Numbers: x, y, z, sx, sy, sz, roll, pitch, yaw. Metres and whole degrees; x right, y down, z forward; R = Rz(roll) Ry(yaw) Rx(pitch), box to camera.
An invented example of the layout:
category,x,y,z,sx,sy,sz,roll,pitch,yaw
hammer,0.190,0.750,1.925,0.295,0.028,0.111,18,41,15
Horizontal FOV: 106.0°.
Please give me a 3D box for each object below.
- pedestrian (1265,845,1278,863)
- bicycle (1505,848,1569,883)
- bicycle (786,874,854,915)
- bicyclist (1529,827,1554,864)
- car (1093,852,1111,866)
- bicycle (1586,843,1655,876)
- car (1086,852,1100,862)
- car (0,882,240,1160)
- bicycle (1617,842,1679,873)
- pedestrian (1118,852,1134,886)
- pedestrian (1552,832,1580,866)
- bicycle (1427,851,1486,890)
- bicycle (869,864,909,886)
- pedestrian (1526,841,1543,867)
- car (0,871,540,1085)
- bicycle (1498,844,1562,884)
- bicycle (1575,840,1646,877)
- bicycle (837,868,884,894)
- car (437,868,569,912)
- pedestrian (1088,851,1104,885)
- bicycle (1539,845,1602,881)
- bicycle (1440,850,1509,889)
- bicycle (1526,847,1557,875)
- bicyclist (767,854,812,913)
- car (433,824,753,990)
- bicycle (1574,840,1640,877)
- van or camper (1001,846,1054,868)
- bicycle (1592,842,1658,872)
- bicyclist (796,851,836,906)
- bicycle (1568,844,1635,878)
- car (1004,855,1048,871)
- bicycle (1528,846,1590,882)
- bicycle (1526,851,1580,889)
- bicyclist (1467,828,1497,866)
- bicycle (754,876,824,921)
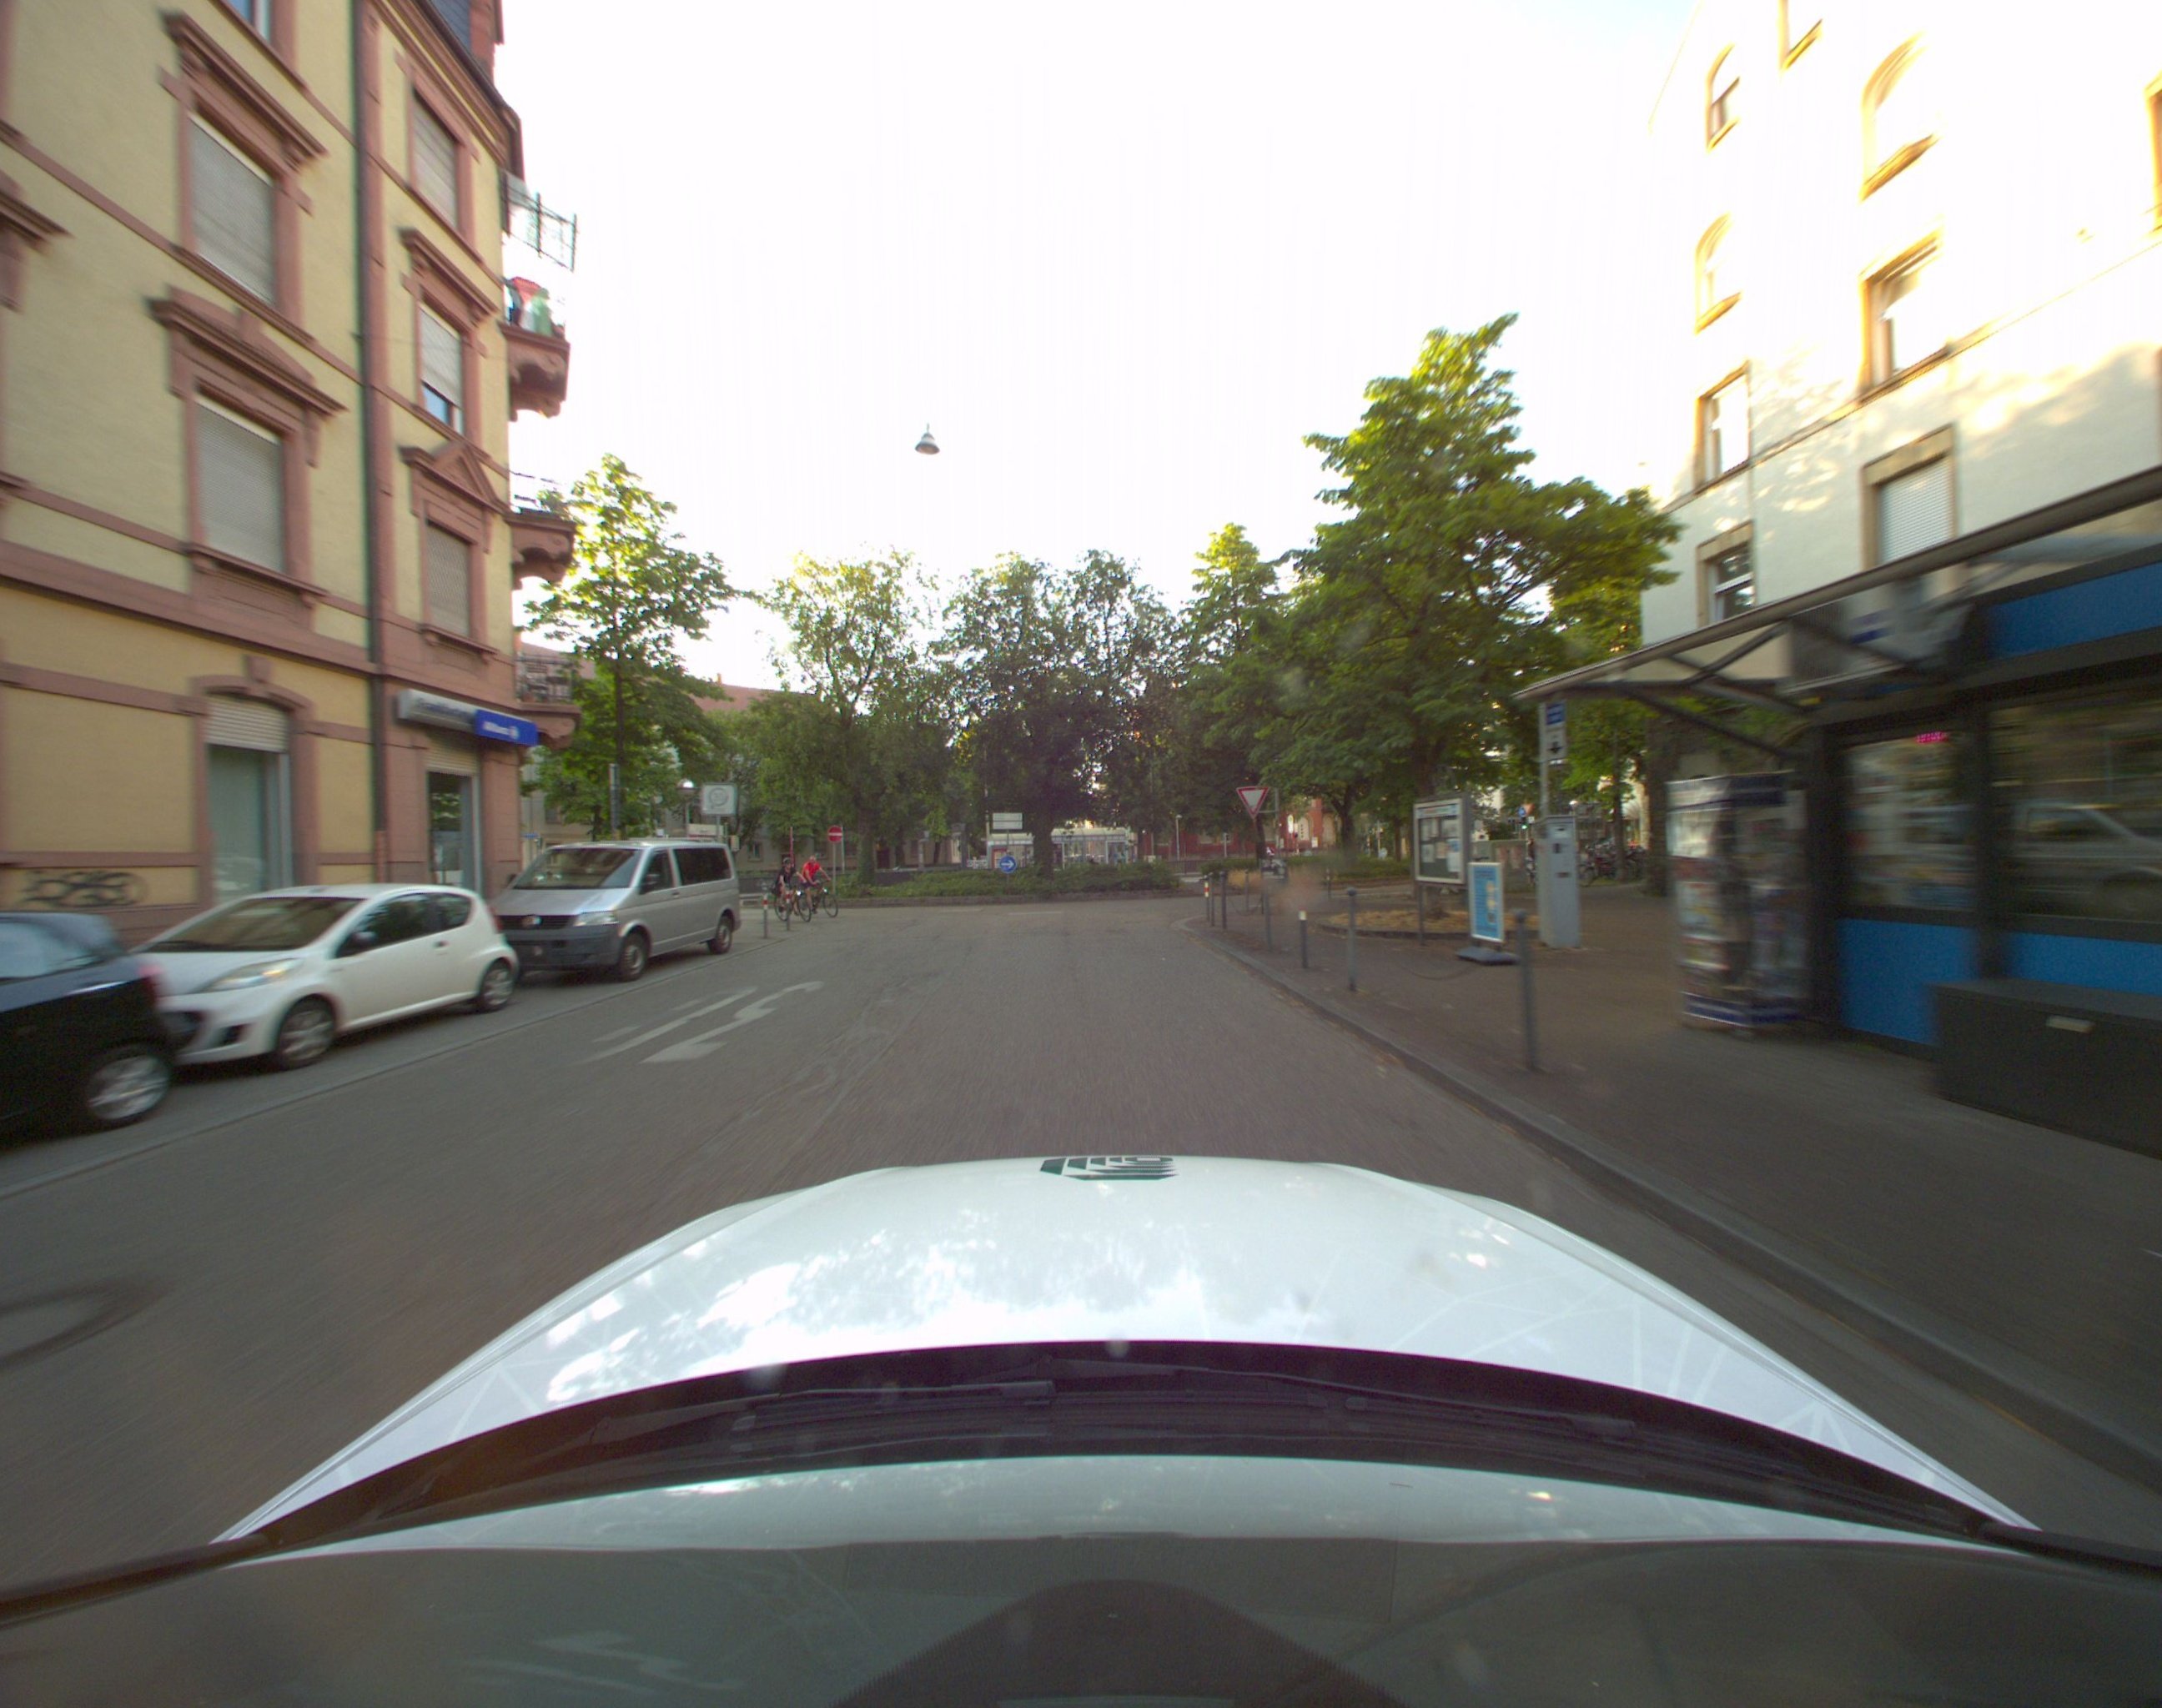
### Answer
category,x,y,z,sx,sy,sz,roll,pitch,yaw
pedestrian,16.056,-0.005,68.598,0.856,1.526,0.720,-2,0,36
bicycle,13.931,0.367,24.907,0.557,1.020,1.590,-2,0,-35
bicycle,-7.389,1.144,23.034,1.988,1.107,0.656,-2,0,32
bicyclist,18.944,-0.344,33.507,0.700,1.502,0.925,-2,0,41
car,2.635,0.642,104.857,1.989,1.703,4.714,-1,0,-3
bicycle,18.612,0.190,28.115,1.897,1.065,0.556,-2,0,45
car,2.052,0.518,140.444,1.989,1.703,4.714,-1,0,-3
car,-6.824,0.959,3.992,1.726,1.491,3.735,0,0,-6
bicycle,21.686,0.128,31.195,1.834,1.104,0.576,-2,0,20
pedestrian,1.955,0.630,35.361,0.614,1.431,0.655,-2,0,-1
pedestrian,31.160,-0.306,52.313,1.058,2.085,1.009,-3,0,-13
bicycle,10.458,0.447,22.714,0.433,1.039,1.595,-2,0,-23
bicycle,-9.741,1.052,41.316,1.858,1.051,0.542,-2,0,-24
pedestrian,32.109,-0.018,57.605,0.859,1.794,0.930,-2,0,38
car,-7.227,0.954,7.874,1.680,1.491,3.610,0,0,-3
bicycle,13.569,0.307,24.646,0.557,1.148,1.590,-2,0,-35
bicycle,17.990,0.149,27.697,1.897,1.200,0.556,-2,0,45
bicycle,-10.698,1.308,39.522,2.119,1.151,0.681,-2,0,-25
car,-22.162,1.373,31.209,4.780,1.517,2.012,-2,0,26
pedestrian,0.655,0.589,35.045,0.614,1.431,0.655,-2,0,-1
bicycle,15.214,0.301,25.339,0.421,1.076,1.589,-2,0,-39
bicycle,10.903,0.431,22.615,0.433,1.039,1.884,-2,0,-23
bicycle,18.955,0.271,33.504,0.700,1.070,1.846,-2,0,41
bicyclist,-7.772,0.788,21.715,0.856,1.526,0.720,-2,0,36
car,-7.093,0.652,12.667,2.035,2.057,5.002,0,0,-1
bicycle,17.507,0.171,27.134,0.450,1.168,1.774,-2,0,-43
van or camper,-7.555,0.419,114.801,7.357,3.083,2.667,-1,0,-7
bicycle,19.016,0.113,28.492,0.421,1.014,1.833,-2,0,-43
bicyclist,-7.522,0.690,23.111,0.856,1.526,0.658,-2,0,32
bicycle,17.164,0.241,26.907,0.450,1.063,1.774,-2,0,-43
car,-6.228,1.025,92.112,4.945,1.703,1.996,-1,0,-7
bicycle,14.805,0.328,25.240,0.421,1.063,1.589,-2,0,-39
bicycle,12.824,0.421,22.100,1.732,0.969,0.428,-2,0,-30
bicyclist,15.194,-0.279,30.846,0.870,1.411,0.691,-2,0,-43
bicycle,-7.822,1.178,21.761,1.988,1.107,0.728,-2,0,36
